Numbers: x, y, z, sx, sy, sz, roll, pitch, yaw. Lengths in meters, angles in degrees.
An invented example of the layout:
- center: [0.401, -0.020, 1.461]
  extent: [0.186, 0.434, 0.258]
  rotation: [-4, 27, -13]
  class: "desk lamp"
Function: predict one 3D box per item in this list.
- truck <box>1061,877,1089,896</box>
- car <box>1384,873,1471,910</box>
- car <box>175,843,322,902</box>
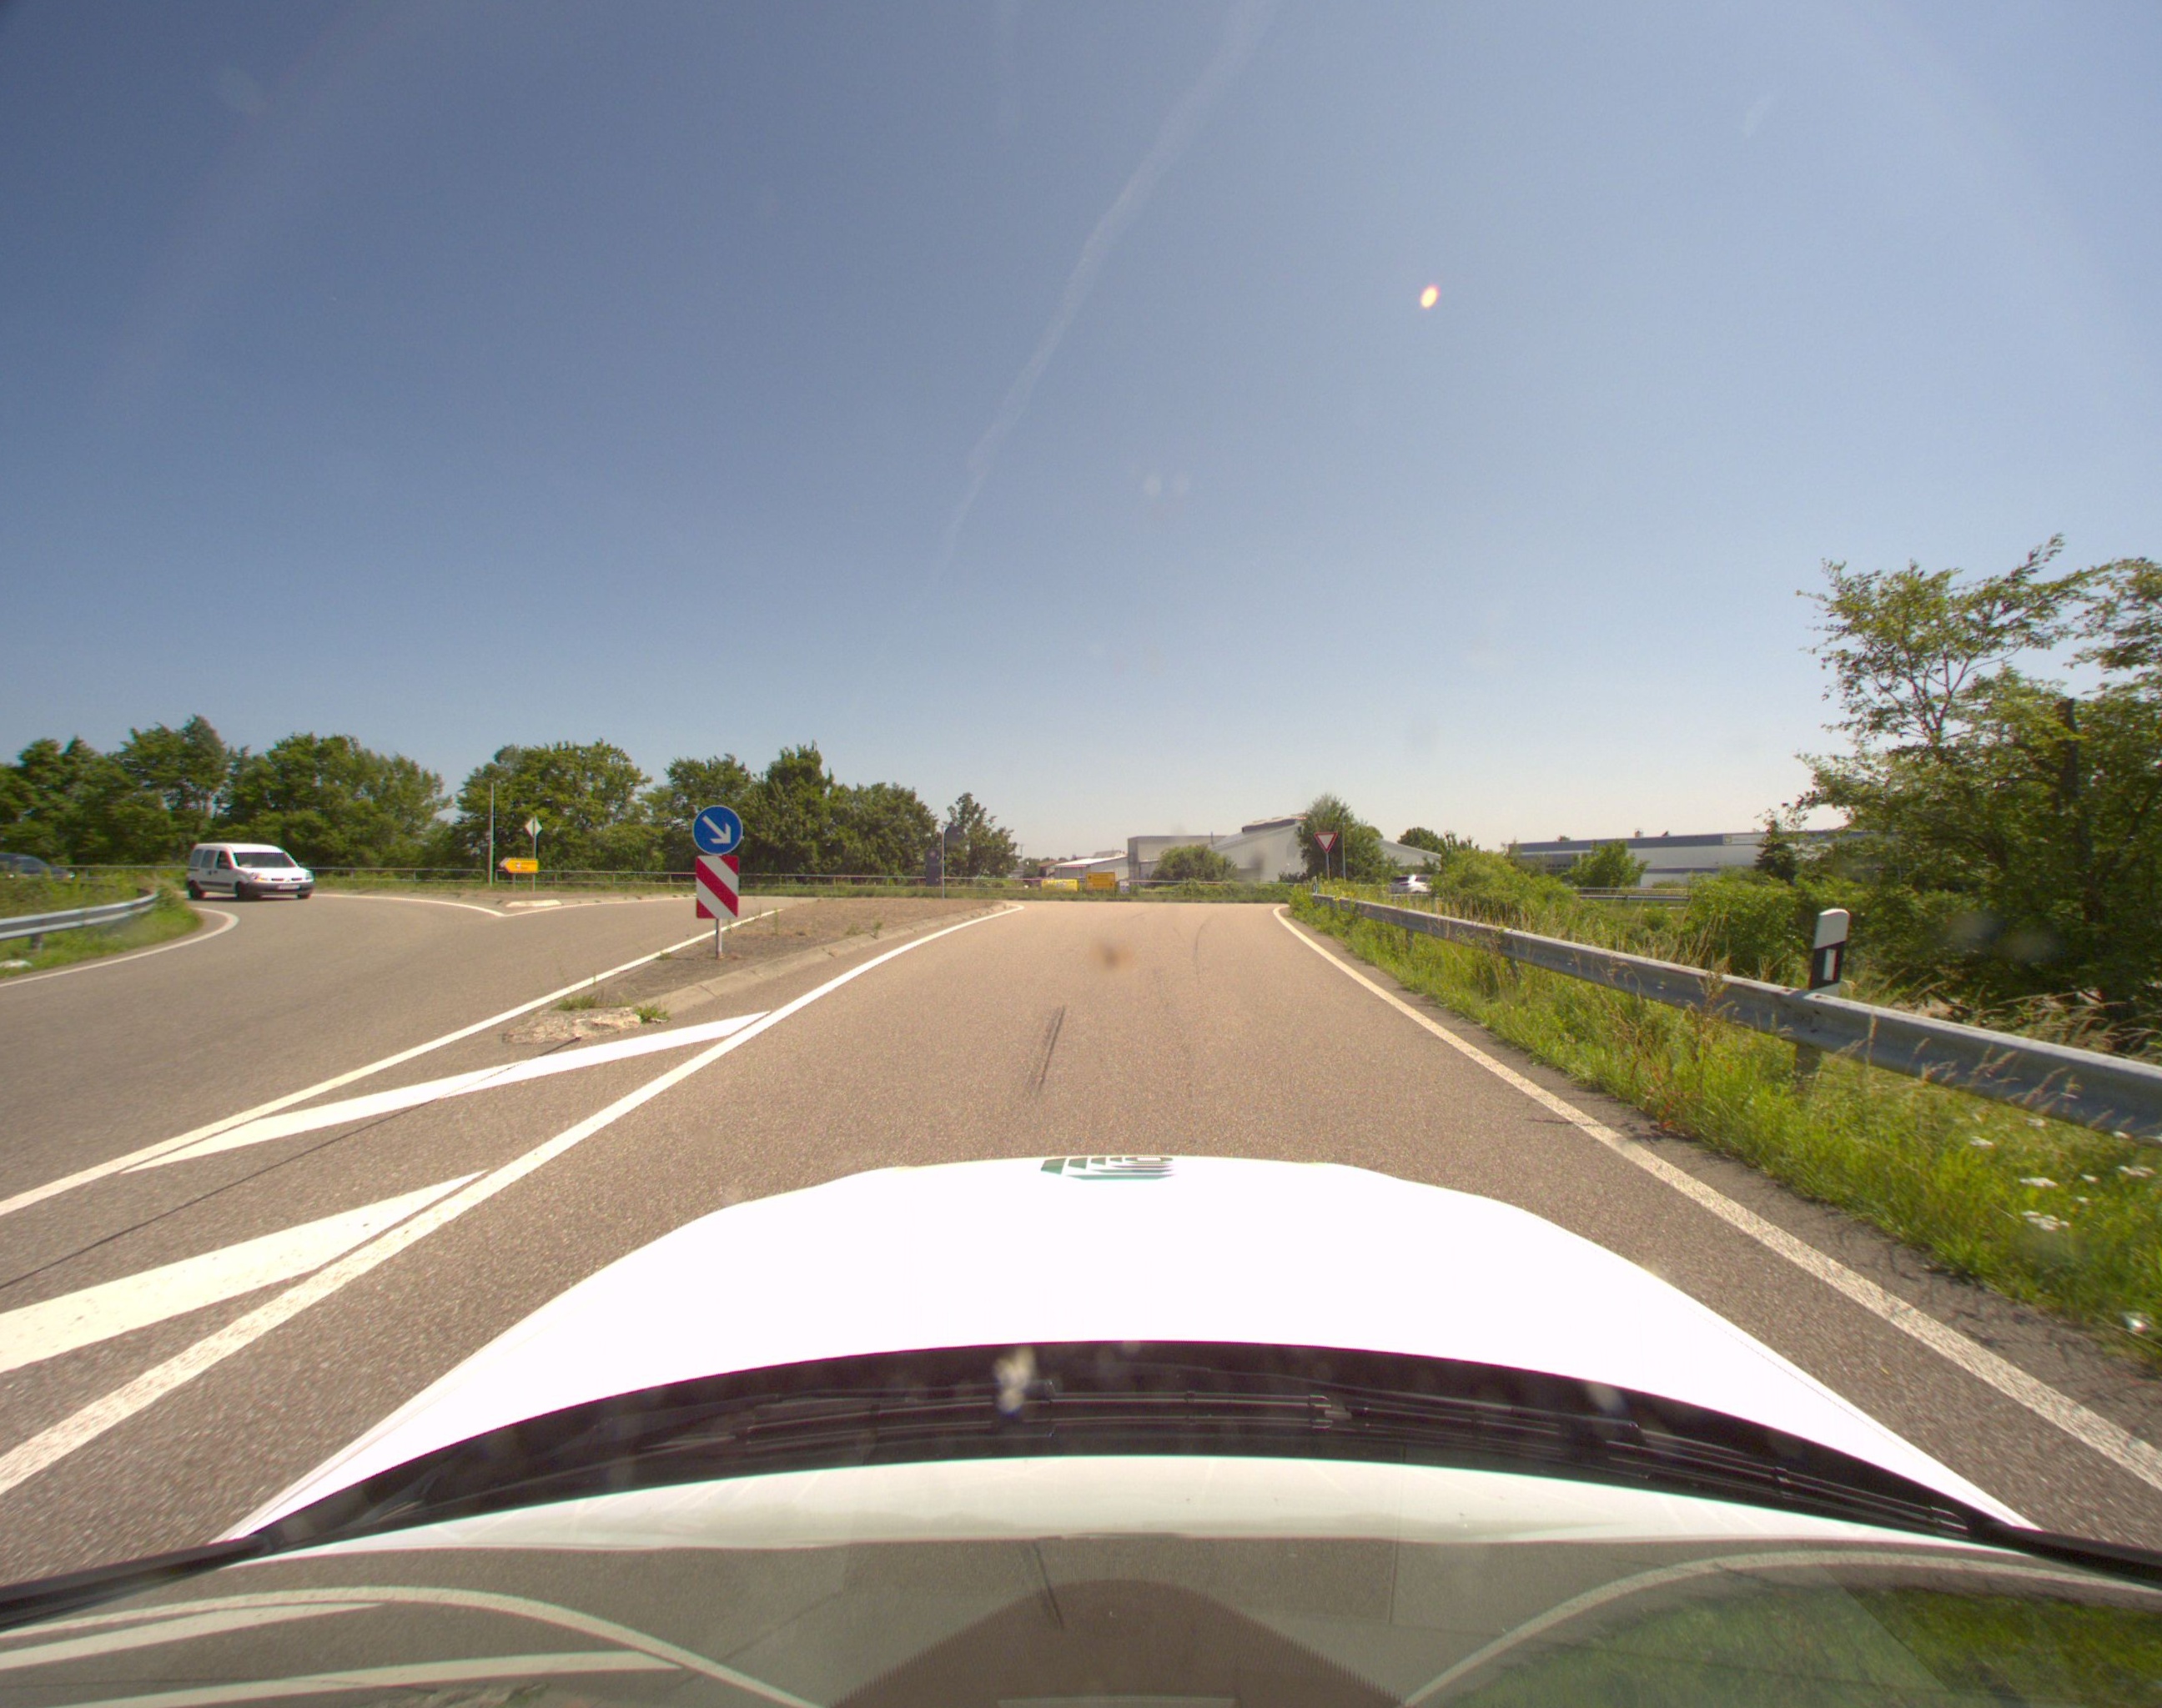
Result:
- center: [-1.466, 7.388, 186.139]
  extent: [3.712, 4.312, 13.278]
  rotation: [1, -2, -13]
  class: "truck"
- center: [17.352, 1.855, 40.779]
  extent: [4.008, 1.691, 1.799]
  rotation: [-1, -2, -26]
  class: "car"
- center: [-26.446, 0.551, 25.870]
  extent: [4.035, 1.761, 1.751]
  rotation: [0, 1, 21]
  class: "car"
